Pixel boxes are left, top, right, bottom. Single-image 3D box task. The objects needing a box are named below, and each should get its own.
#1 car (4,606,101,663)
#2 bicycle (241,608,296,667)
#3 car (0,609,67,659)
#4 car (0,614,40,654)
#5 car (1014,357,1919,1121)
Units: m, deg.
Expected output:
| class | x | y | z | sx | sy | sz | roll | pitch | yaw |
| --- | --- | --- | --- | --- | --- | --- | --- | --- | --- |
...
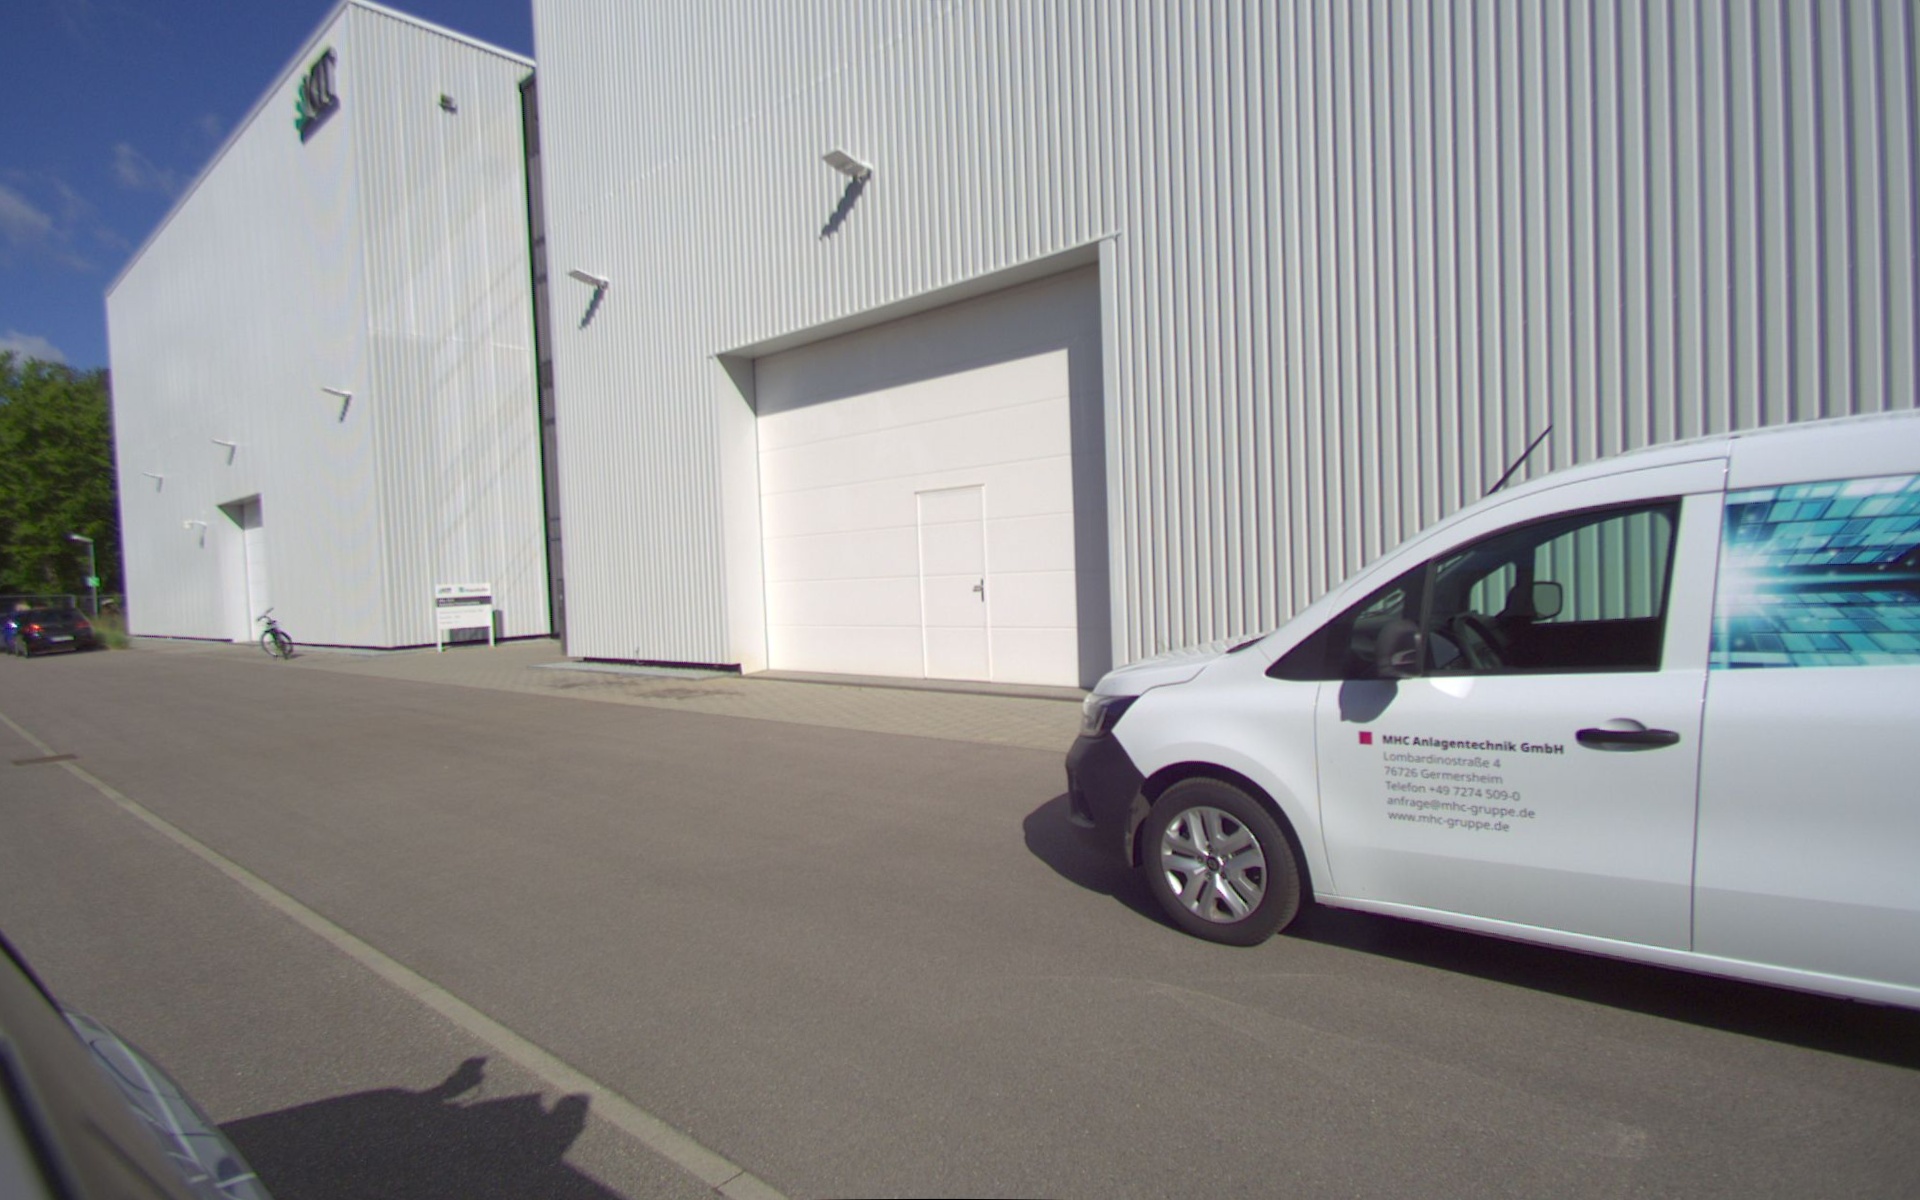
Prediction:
| class | x | y | z | sx | sy | sz | roll | pitch | yaw |
| --- | --- | --- | --- | --- | --- | --- | --- | --- | --- |
| car | -28.956 | 1.057 | 32.254 | 4.001 | 1.532 | 1.870 | -1 | 4 | 44 |
| bicycle | -15.782 | 0.831 | 23.142 | 0.895 | 1.151 | 1.905 | -7 | 4 | -33 |
| car | -32.944 | 1.168 | 35.664 | 4.001 | 1.532 | 1.766 | -1 | 4 | 44 |
| car | -37.103 | 1.300 | 39.260 | 4.001 | 1.451 | 1.766 | -1 | 1 | 44 |
| car | 2.518 | 0.288 | 3.503 | 4.356 | 1.859 | 1.871 | -1 | 4 | 41 |
